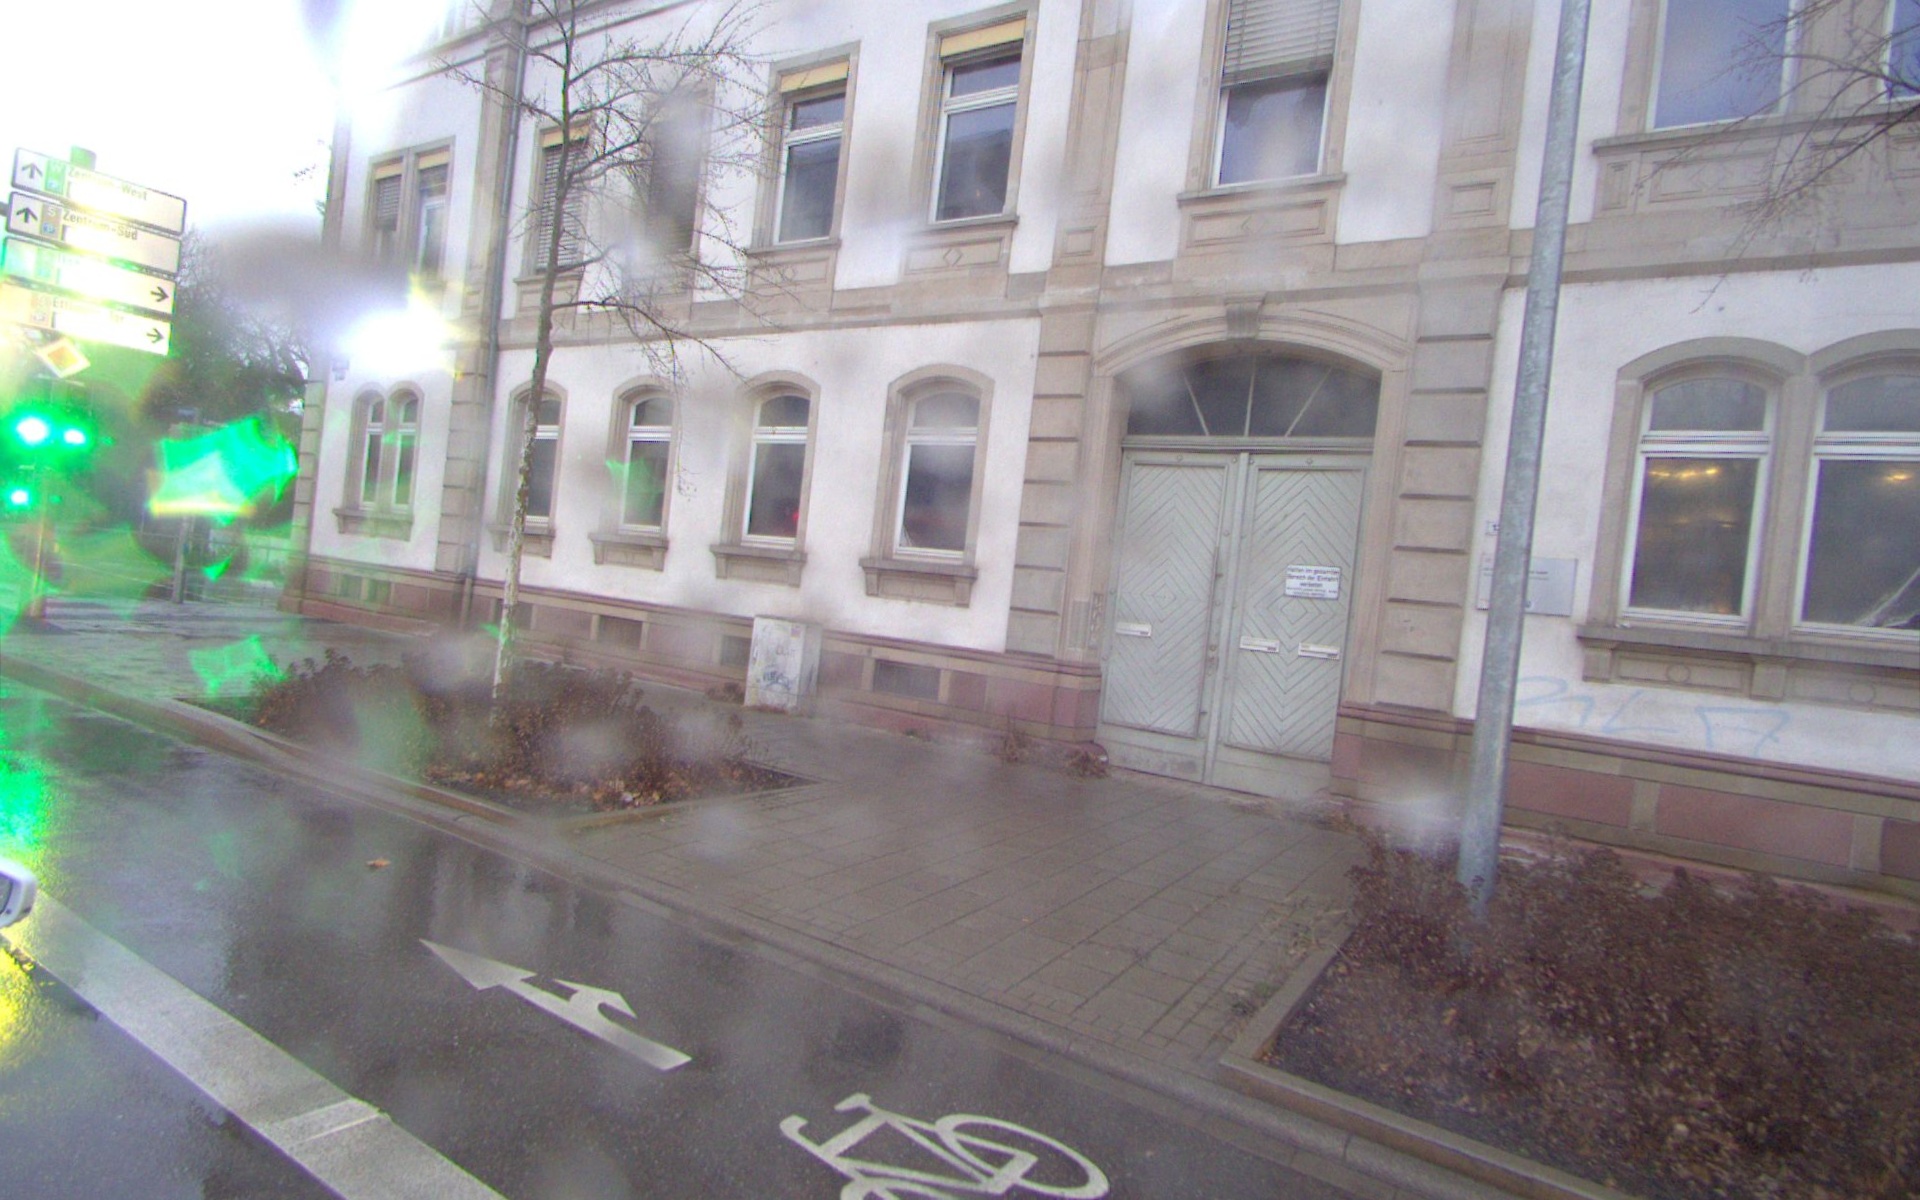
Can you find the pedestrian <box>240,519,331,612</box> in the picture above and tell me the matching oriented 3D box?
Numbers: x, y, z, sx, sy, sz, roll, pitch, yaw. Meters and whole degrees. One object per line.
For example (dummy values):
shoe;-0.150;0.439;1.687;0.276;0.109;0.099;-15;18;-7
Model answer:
pedestrian;-12.780;-0.643;19.083;0.769;1.597;1.011;7;-1;22
